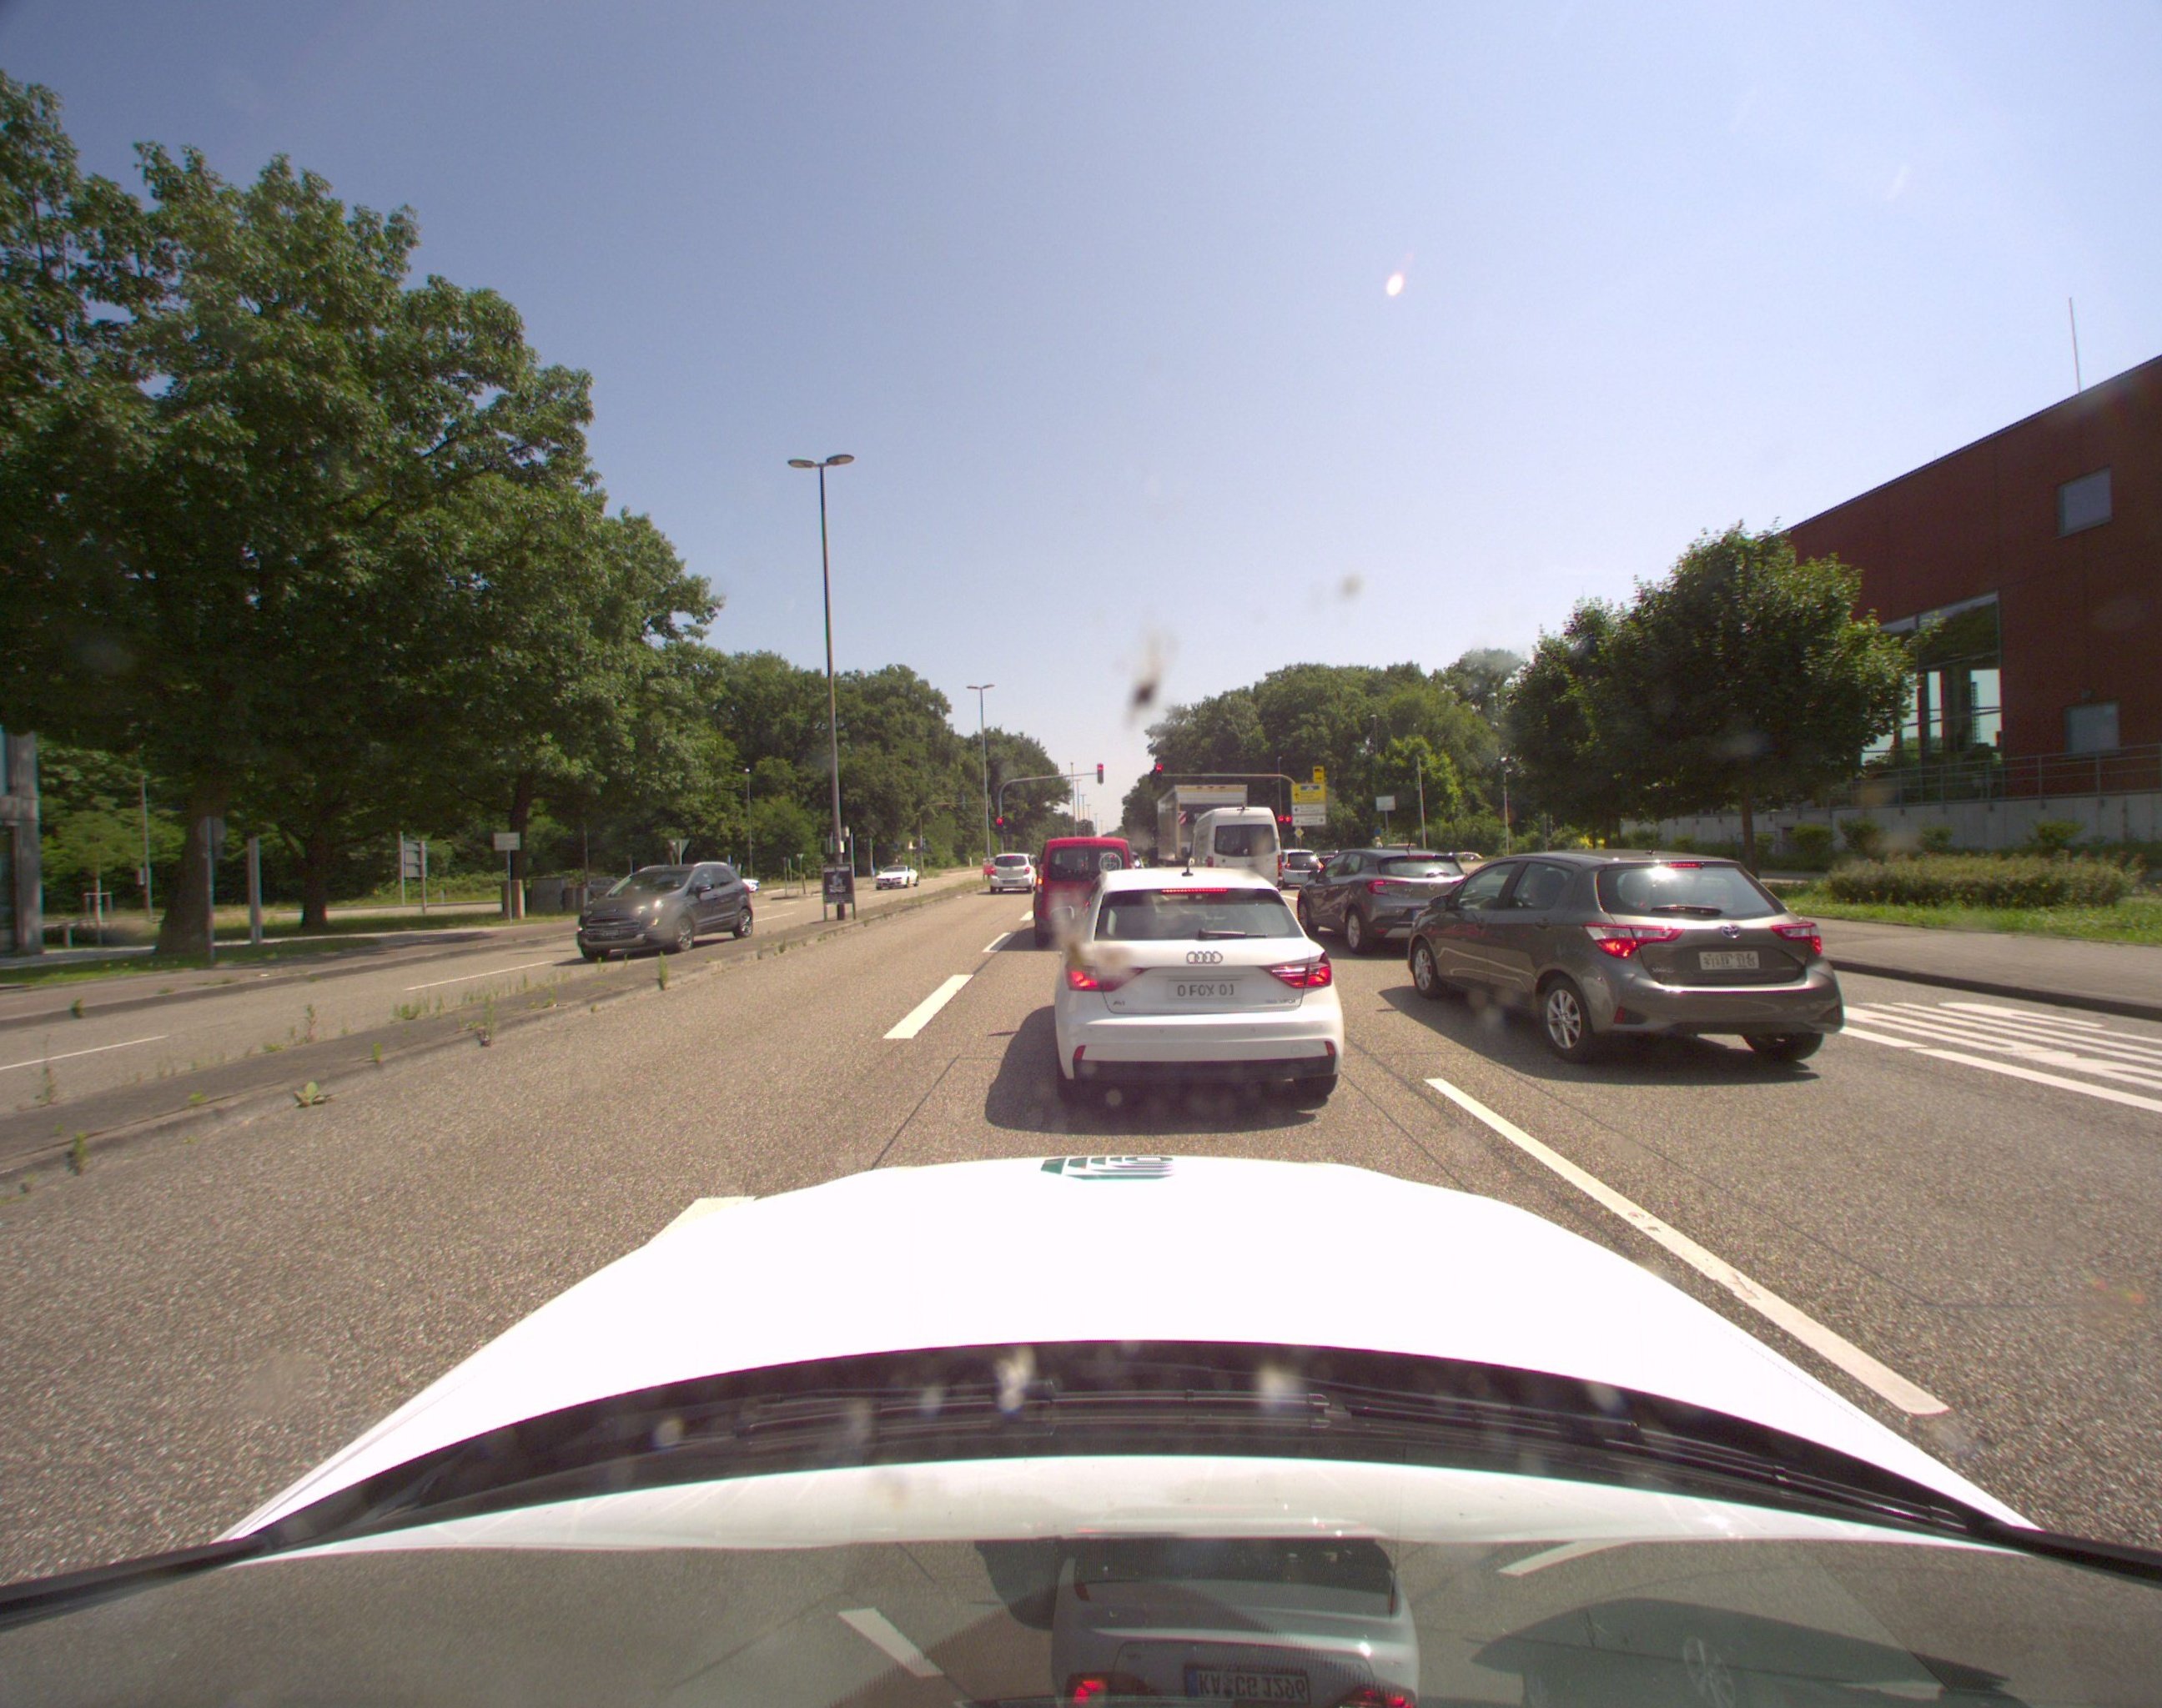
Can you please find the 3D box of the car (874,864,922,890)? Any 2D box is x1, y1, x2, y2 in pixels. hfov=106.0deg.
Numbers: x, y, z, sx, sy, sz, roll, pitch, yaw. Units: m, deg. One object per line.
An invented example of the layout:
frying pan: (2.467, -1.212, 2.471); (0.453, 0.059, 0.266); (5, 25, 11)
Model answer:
car: (-10.692, 1.335, 47.917); (1.712, 1.262, 4.302); (-4, 0, 1)

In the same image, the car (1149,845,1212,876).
car: (7.246, 0.477, 59.237); (3.948, 2.013, 2.013); (-2, 0, 34)

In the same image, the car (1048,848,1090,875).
car: (-1.033, 0.627, 65.959); (2.002, 2.013, 3.970); (-2, 0, -23)

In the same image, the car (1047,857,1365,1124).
car: (0.685, 0.748, 6.469); (1.706, 1.386, 4.091); (-1, 0, 0)

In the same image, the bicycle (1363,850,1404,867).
bicycle: (14.802, 0.231, 39.891); (0.604, 0.766, 1.804); (-2, 0, -44)

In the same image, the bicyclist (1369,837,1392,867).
bicyclist: (14.711, -0.109, 39.958); (0.603, 1.439, 0.819); (-2, 0, -44)

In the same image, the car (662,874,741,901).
car: (-24.855, 2.164, 53.447); (4.366, 1.681, 1.806); (0, -1, -7)

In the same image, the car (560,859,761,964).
car: (-7.787, 0.975, 15.533); (1.681, 1.600, 3.884); (-5, 0, 0)

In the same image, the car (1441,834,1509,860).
car: (28.220, -0.515, 58.423); (3.977, 1.689, 1.877); (-2, 0, -3)

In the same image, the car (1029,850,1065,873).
car: (-3.199, 0.710, 75.543); (2.002, 2.013, 3.970); (-2, 0, -23)

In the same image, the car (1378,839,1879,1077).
car: (4.249, 0.662, 7.251); (1.706, 1.478, 4.091); (1, 0, 0)

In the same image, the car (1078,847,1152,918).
car: (0.803, 0.659, 21.245); (1.706, 1.631, 4.091); (-1, 0, 0)

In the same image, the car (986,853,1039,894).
car: (-2.645, 0.706, 32.318); (1.706, 1.492, 4.091); (-1, 0, 0)

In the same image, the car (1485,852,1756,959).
car: (8.104, 0.675, 12.749); (1.631, 1.371, 4.147); (0, 0, 2)

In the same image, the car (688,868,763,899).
car: (-24.943, 2.064, 57.271); (4.367, 1.681, 1.806); (-6, 0, -7)

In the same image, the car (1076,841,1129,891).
car: (0.724, 0.395, 29.045); (1.706, 1.631, 4.091); (-1, 0, 0)

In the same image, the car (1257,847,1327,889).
car: (8.358, 0.524, 32.610); (1.706, 1.546, 4.091); (-1, 0, 0)

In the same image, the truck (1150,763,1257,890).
truck: (4.783, -0.978, 34.446); (3.077, 4.434, 11.584); (-1, 0, 2)

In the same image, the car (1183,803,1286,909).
car: (4.206, 0.056, 23.078); (2.024, 2.644, 4.846); (-1, 0, 1)

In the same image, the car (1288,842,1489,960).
car: (4.747, 0.641, 13.229); (1.706, 1.593, 4.091); (-1, 0, 0)

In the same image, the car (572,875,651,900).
car: (-32.566, 2.311, 56.634); (4.371, 1.681, 1.804); (0, -1, -10)

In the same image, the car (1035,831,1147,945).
car: (0.159, 0.526, 14.739); (1.706, 1.748, 4.091); (-1, 0, 0)
